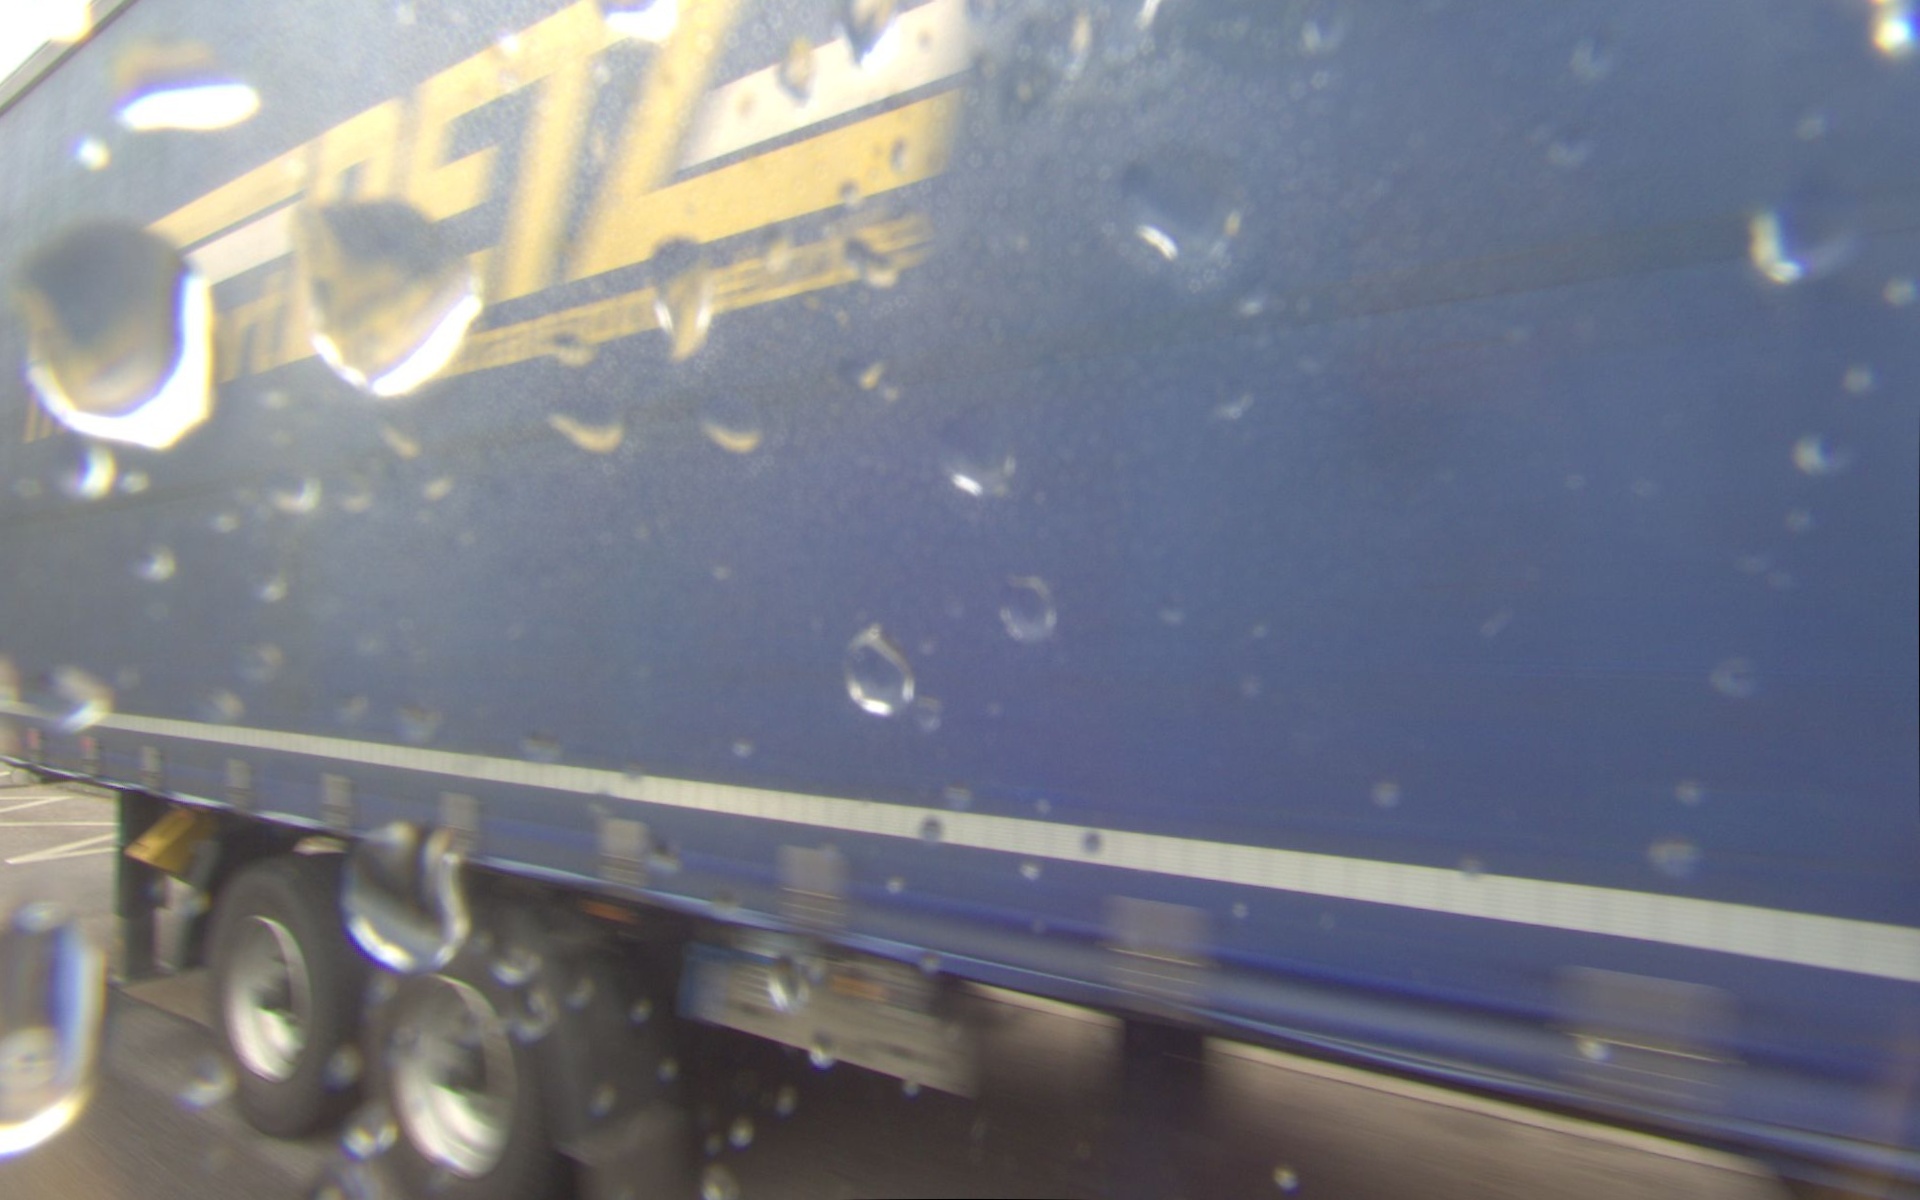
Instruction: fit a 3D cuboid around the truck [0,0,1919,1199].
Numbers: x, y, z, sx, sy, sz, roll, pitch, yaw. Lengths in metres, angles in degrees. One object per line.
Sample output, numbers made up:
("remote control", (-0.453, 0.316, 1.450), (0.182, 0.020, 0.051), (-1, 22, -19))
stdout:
("truck", (-1.266, -0.285, 3.935), (7.638, 3.656, 2.738), (-1, -3, 32))
